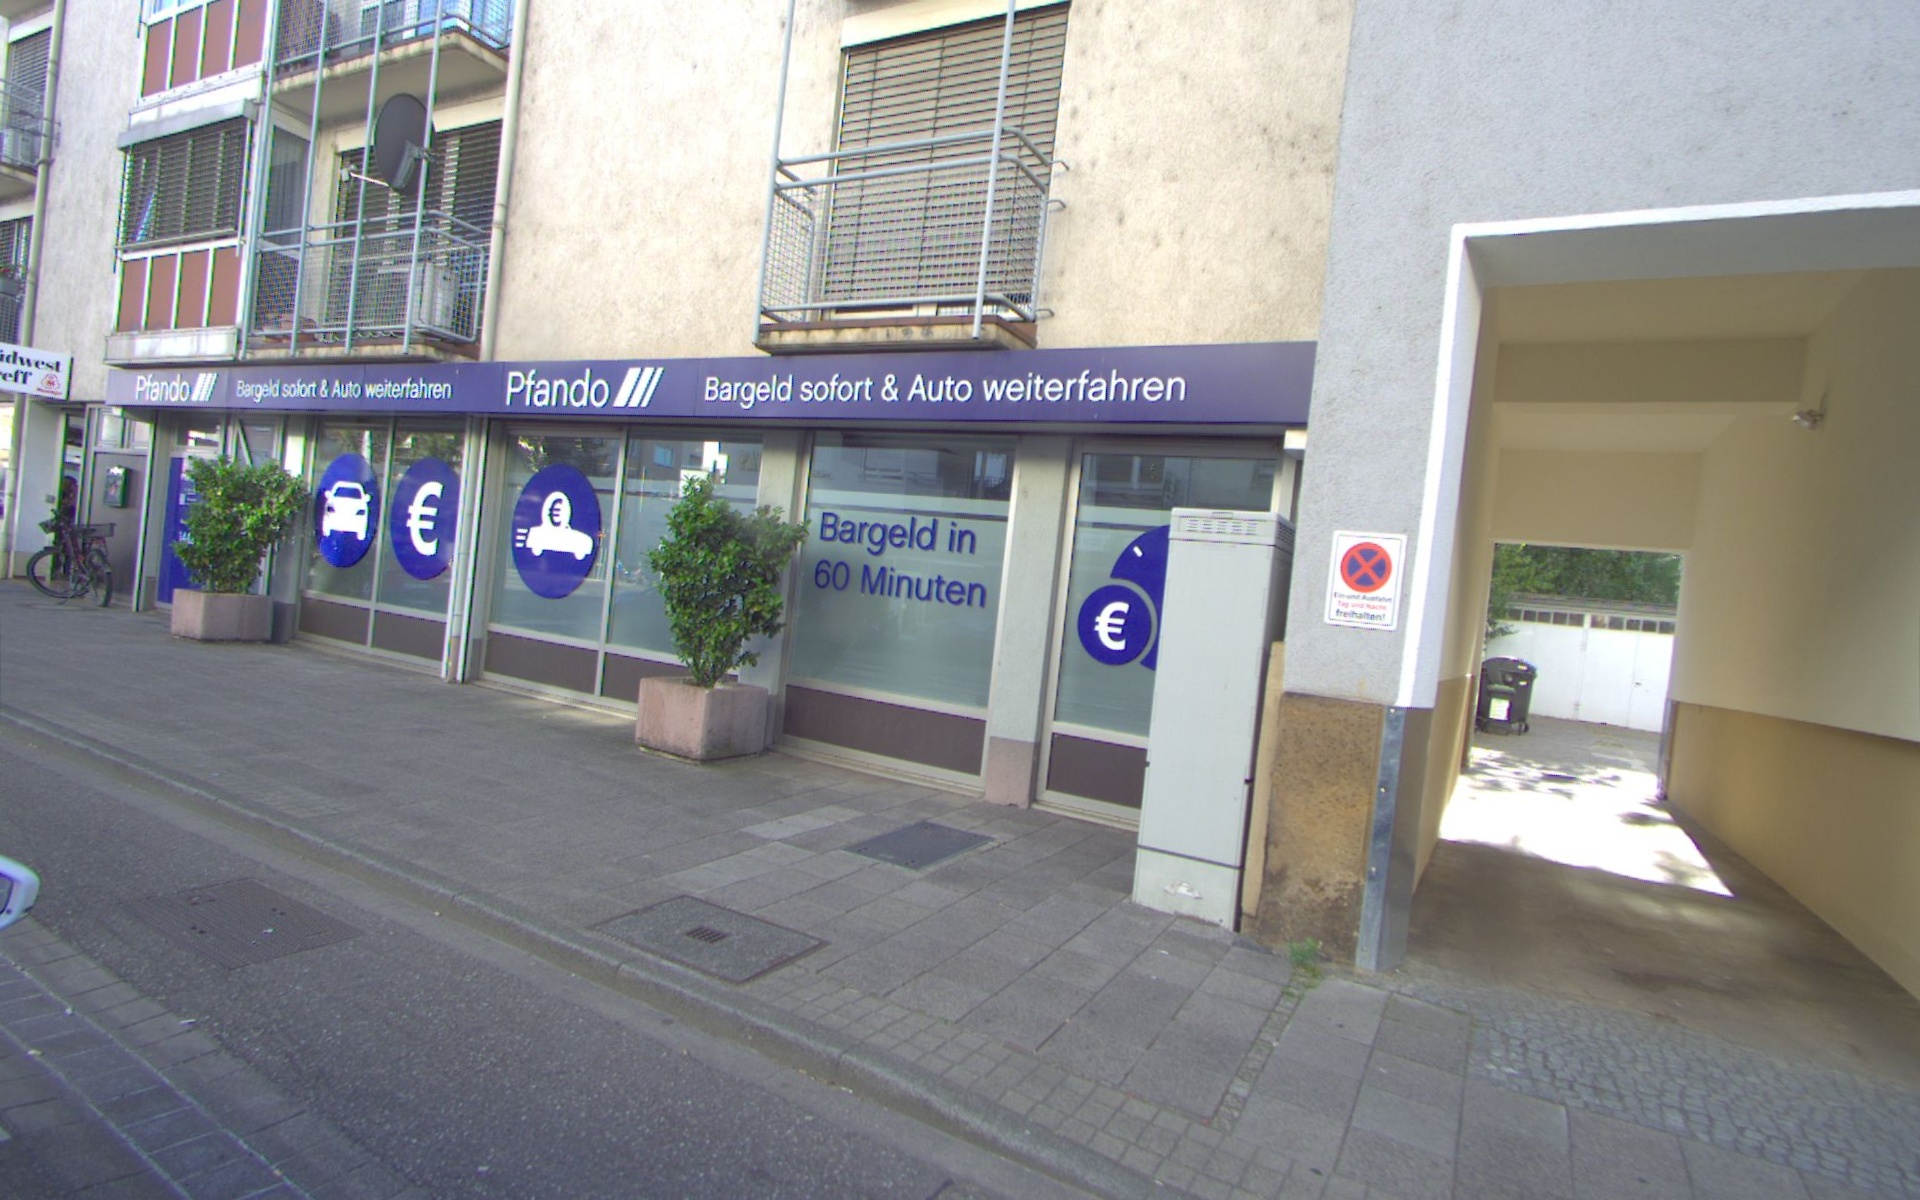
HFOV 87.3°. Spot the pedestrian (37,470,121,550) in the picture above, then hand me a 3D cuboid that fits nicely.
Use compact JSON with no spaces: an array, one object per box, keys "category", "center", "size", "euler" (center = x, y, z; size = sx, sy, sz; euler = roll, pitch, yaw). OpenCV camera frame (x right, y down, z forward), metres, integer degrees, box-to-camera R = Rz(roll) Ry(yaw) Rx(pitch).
[{"category":"pedestrian","center":[-13.550,-1.374,15.485],"size":[0.667,1.102,0.624],"euler":[7,2,-5]}]

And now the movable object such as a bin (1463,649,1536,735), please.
[{"category":"movable object such as a bin","center":[10.712,1.828,19.961],"size":[1.092,1.511,1.328],"euler":[6,-2,31]}]

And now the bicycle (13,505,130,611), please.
[{"category":"bicycle","center":[-11.223,-0.543,12.694],"size":[1.747,1.176,0.497],"euler":[6,0,30]}]
